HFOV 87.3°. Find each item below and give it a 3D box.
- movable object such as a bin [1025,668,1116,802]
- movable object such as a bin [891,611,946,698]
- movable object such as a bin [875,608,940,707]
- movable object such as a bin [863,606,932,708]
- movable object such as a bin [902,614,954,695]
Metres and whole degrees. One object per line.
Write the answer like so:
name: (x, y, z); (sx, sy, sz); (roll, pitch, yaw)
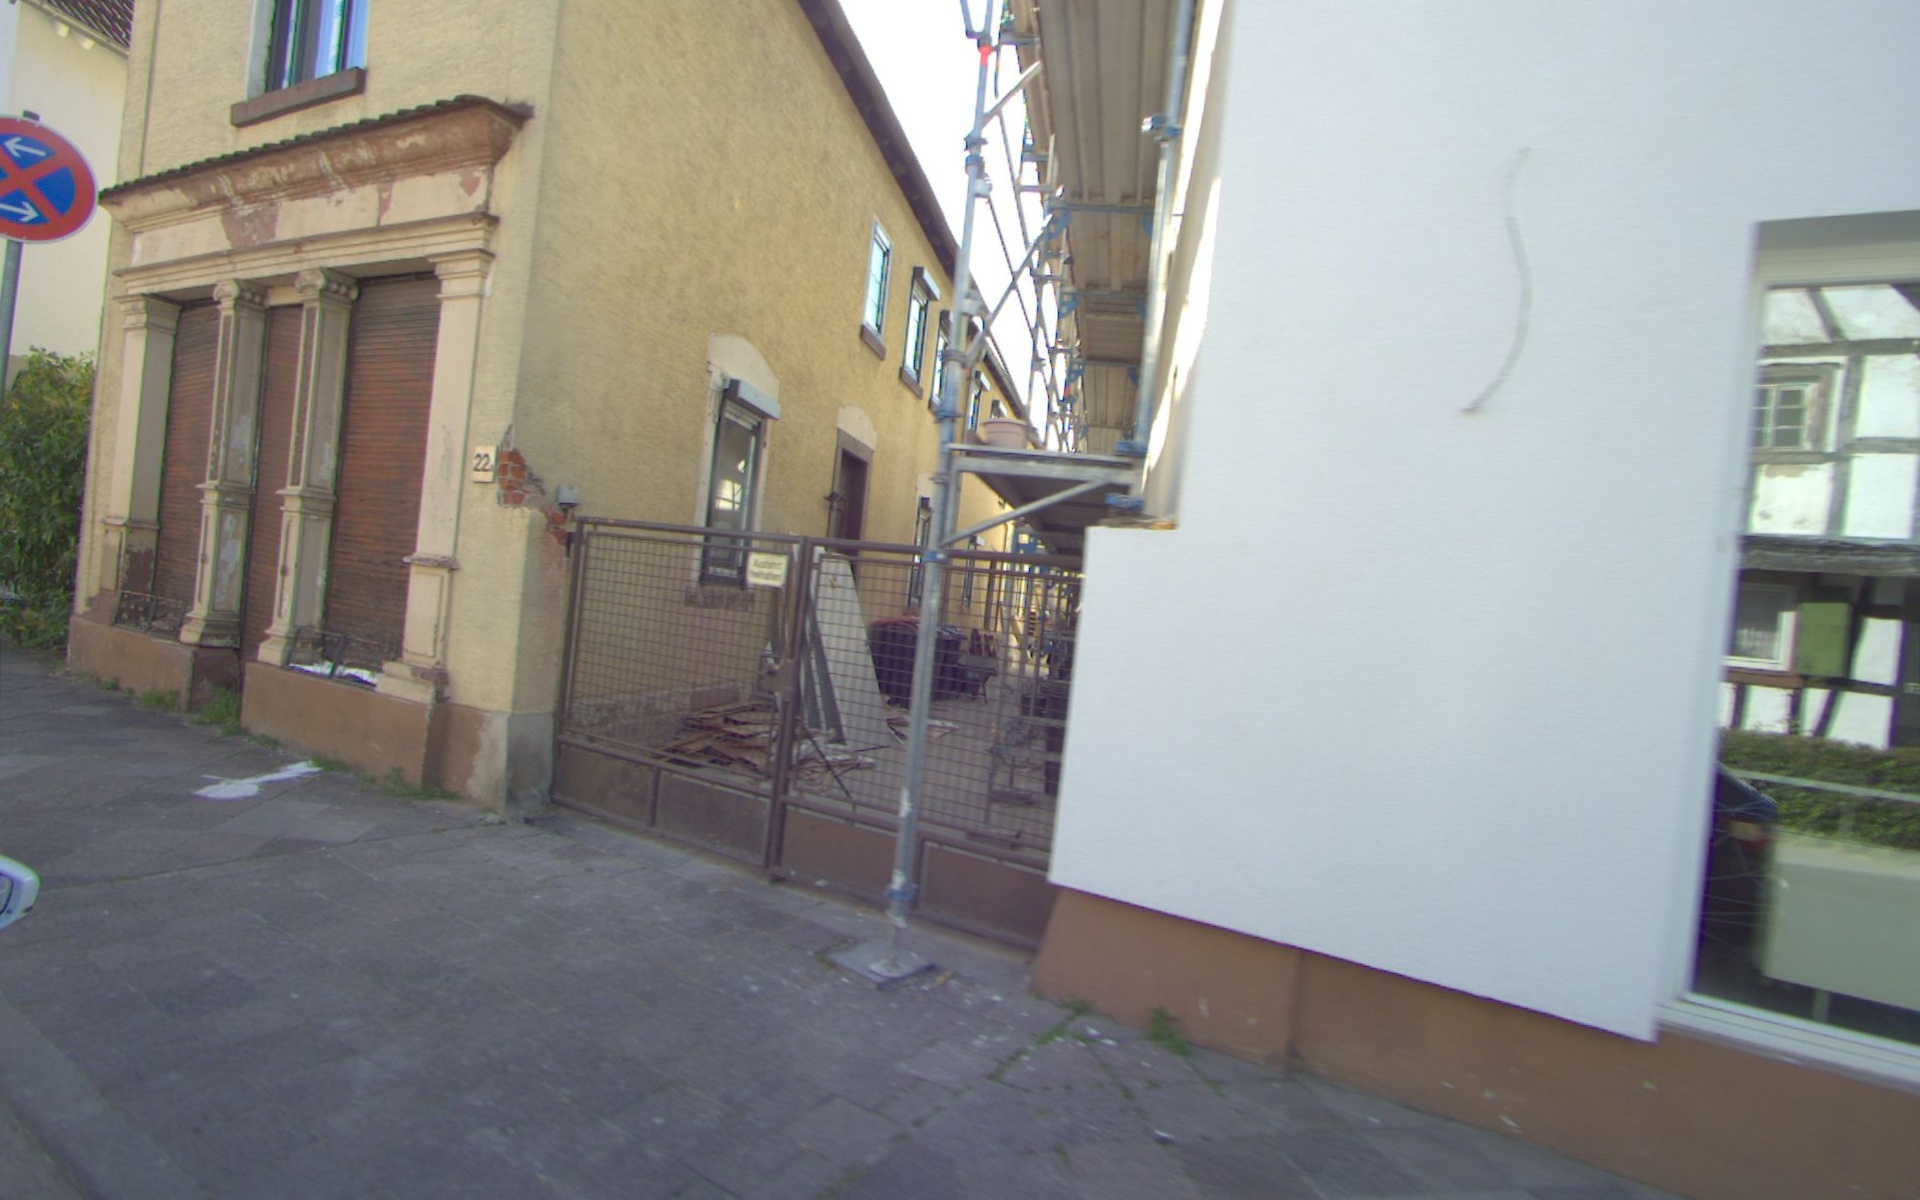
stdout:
movable object such as a bin: (0.915, 1.091, 8.277); (0.624, 0.967, 0.573); (6, 1, 8)
movable object such as a bin: (-0.575, 0.774, 14.189); (0.568, 1.132, 0.574); (6, -2, 8)
movable object such as a bin: (-0.698, 0.775, 13.502); (0.628, 1.230, 0.514); (6, -2, 11)
movable object such as a bin: (-0.794, 0.730, 12.913); (0.659, 1.207, 0.551); (6, -2, 8)
movable object such as a bin: (-0.470, 0.805, 14.888); (0.568, 1.116, 0.574); (6, -2, 8)
